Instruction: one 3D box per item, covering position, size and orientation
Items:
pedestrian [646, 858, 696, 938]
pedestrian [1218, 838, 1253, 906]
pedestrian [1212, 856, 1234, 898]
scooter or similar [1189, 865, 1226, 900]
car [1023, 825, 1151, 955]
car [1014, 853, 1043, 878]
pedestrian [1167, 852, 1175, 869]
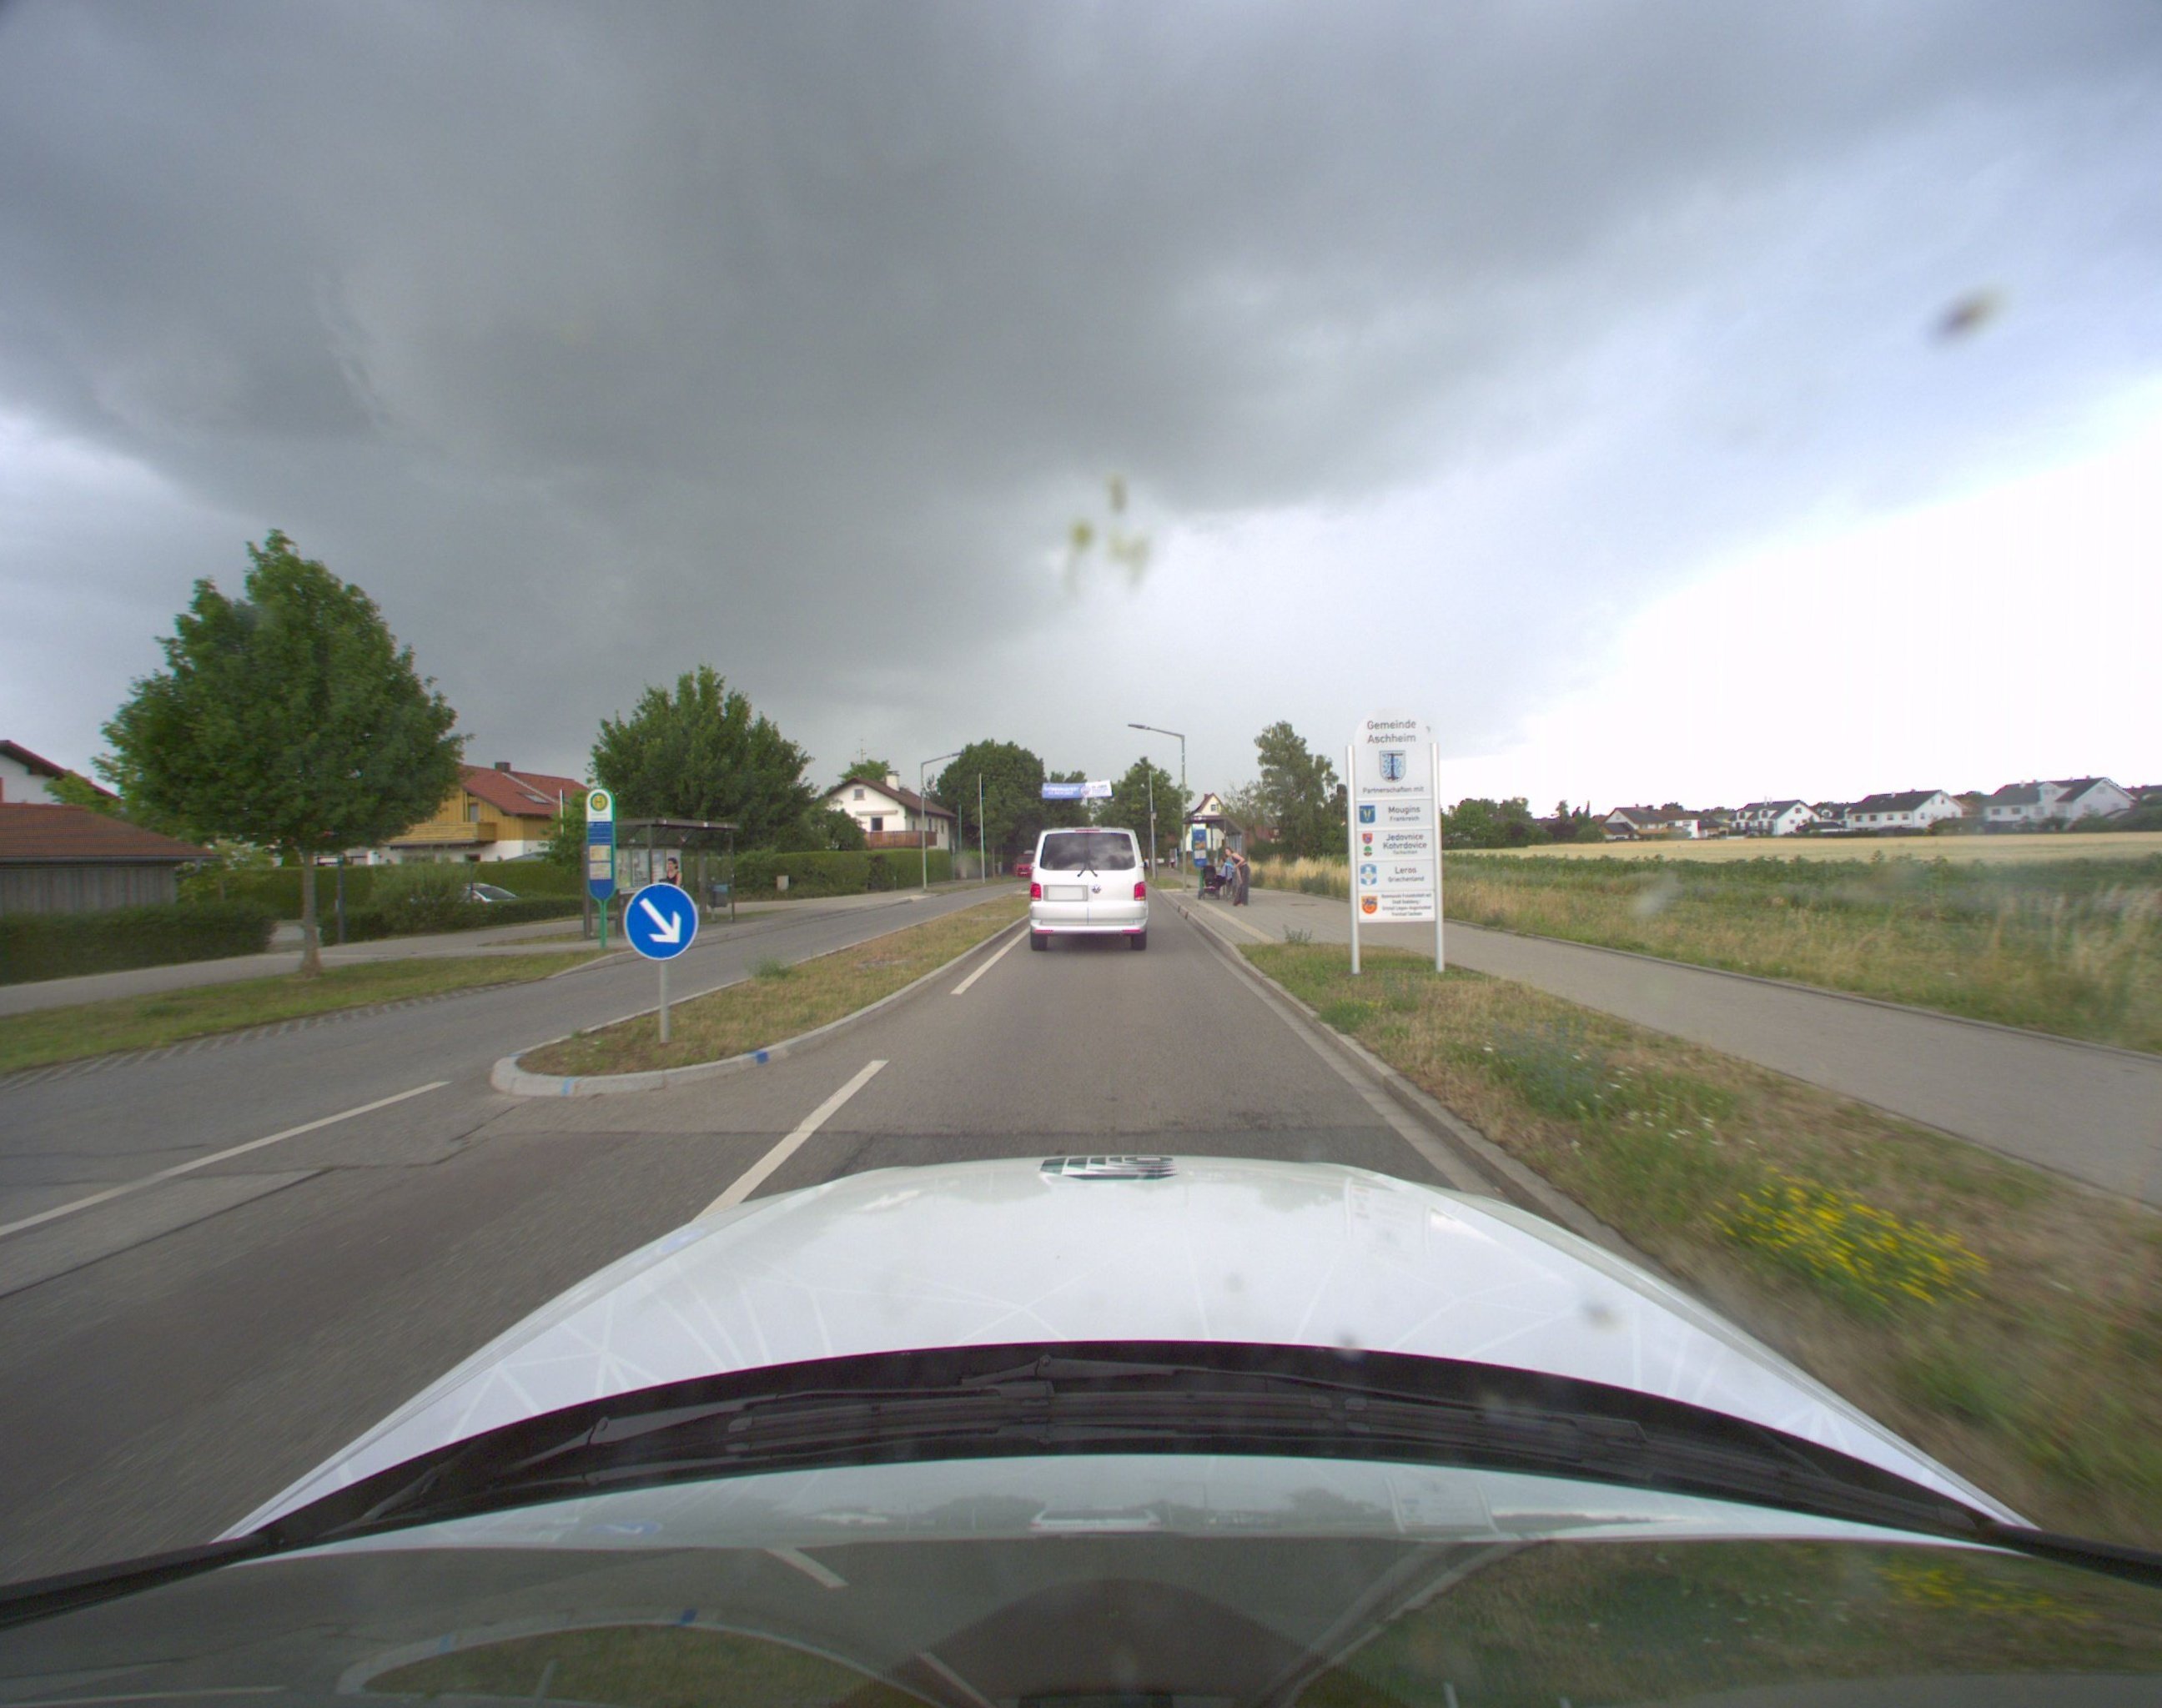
[{"bbox_3d":[-8.648,0.913,17.190,0.586,1.636,0.813,-2,0,1],"label":"pedestrian"},{"bbox_3d":[4.203,0.478,22.091,0.774,1.792,0.783,0,-1,23],"label":"pedestrian"},{"bbox_3d":[4.468,0.709,25.683,0.660,1.302,0.506,0,-1,11],"label":"pedestrian"},{"bbox_3d":[3.949,0.863,25.316,0.699,1.062,1.067,-1,-1,38],"label":"scooter or similar"},{"bbox_3d":[0.148,0.557,14.108,1.881,1.912,4.001,-1,-1,1],"label":"car"},{"bbox_3d":[-4.338,0.915,67.620,1.822,2.030,5.049,0,0,3],"label":"car"},{"bbox_3d":[9.487,0.700,85.659,0.833,1.755,0.871,-1,-1,6],"label":"pedestrian"}]
